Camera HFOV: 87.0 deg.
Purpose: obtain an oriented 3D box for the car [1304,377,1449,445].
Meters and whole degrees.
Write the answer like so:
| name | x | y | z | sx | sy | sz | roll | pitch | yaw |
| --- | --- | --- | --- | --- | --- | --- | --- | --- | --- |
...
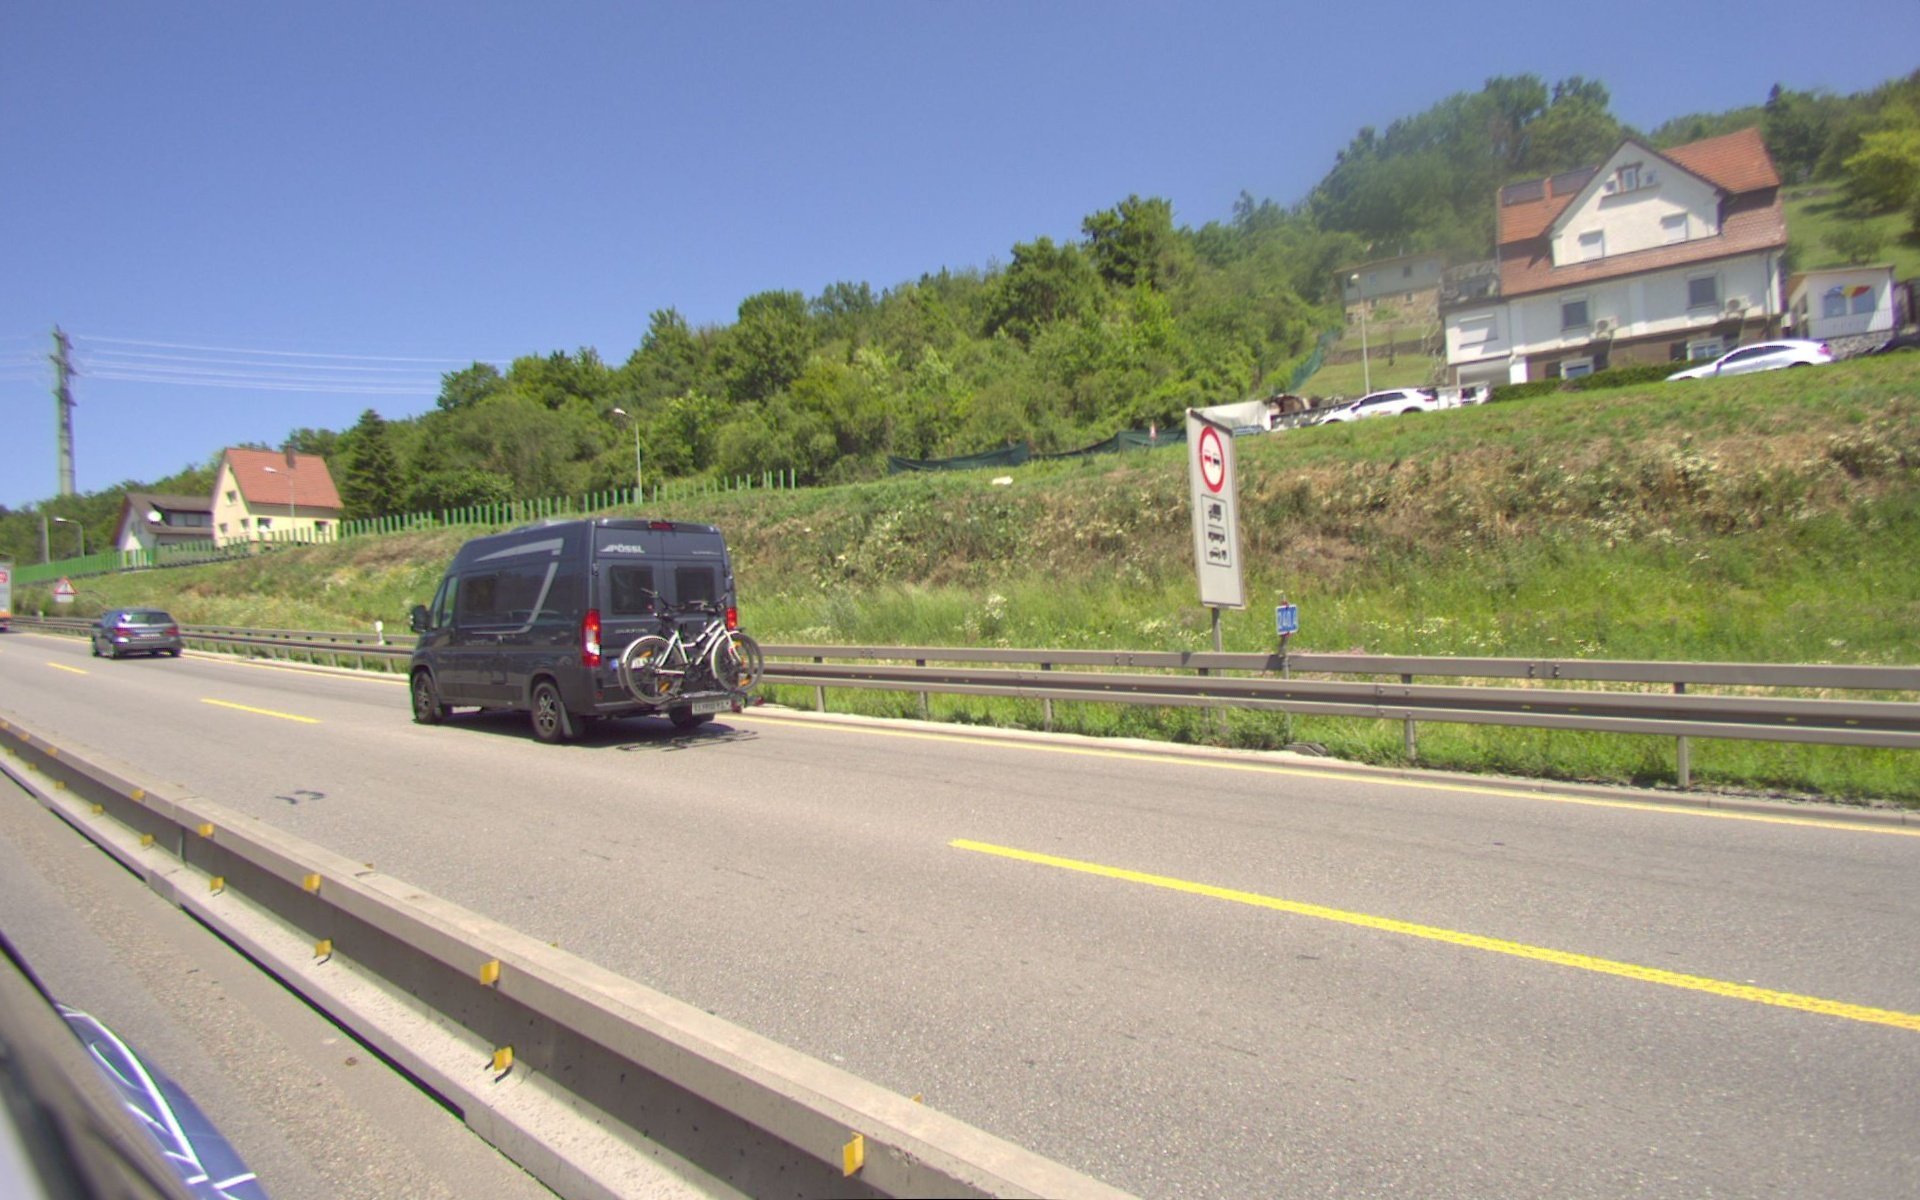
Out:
| name | x | y | z | sx | sy | sz | roll | pitch | yaw |
| --- | --- | --- | --- | --- | --- | --- | --- | --- | --- |
| car | 14.769 | -6.660 | 35.978 | 4.537 | 1.668 | 1.979 | 0 | 0 | 32 |

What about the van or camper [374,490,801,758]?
| name | x | y | z | sx | sy | sz | roll | pitch | yaw |
| --- | --- | --- | --- | --- | --- | --- | --- | --- | --- |
| van or camper | -4.973 | 0.272 | 12.738 | 6.560 | 2.593 | 2.118 | -1 | 0 | 41 |

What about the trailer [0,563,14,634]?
| name | x | y | z | sx | sy | sz | roll | pitch | yaw |
| --- | --- | --- | --- | --- | --- | --- | --- | --- | --- |
| trailer | -58.424 | -0.072 | 59.598 | 8.699 | 4.019 | 2.900 | -1 | 0 | 40 |

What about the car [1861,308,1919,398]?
| name | x | y | z | sx | sy | sz | roll | pitch | yaw |
| --- | --- | --- | --- | --- | --- | --- | --- | --- | --- |
| car | 27.965 | -6.945 | 27.531 | 4.963 | 2.023 | 2.052 | 0 | 0 | 36 |

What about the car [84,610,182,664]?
| name | x | y | z | sx | sy | sz | roll | pitch | yaw |
| --- | --- | --- | --- | --- | --- | --- | --- | --- | --- |
| car | -26.986 | 1.156 | 32.963 | 4.283 | 1.594 | 1.755 | -1 | 0 | 41 |

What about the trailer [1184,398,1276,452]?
| name | x | y | z | sx | sy | sz | roll | pitch | yaw |
| --- | --- | --- | --- | --- | --- | --- | --- | --- | --- |
| trailer | 10.344 | -6.670 | 38.769 | 3.025 | 1.527 | 1.888 | 0 | 0 | 30 |

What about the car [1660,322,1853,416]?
| name | x | y | z | sx | sy | sz | roll | pitch | yaw |
| --- | --- | --- | --- | --- | --- | --- | --- | --- | --- |
| car | 23.658 | -6.825 | 30.313 | 4.421 | 1.886 | 1.976 | 0 | 0 | 35 |
